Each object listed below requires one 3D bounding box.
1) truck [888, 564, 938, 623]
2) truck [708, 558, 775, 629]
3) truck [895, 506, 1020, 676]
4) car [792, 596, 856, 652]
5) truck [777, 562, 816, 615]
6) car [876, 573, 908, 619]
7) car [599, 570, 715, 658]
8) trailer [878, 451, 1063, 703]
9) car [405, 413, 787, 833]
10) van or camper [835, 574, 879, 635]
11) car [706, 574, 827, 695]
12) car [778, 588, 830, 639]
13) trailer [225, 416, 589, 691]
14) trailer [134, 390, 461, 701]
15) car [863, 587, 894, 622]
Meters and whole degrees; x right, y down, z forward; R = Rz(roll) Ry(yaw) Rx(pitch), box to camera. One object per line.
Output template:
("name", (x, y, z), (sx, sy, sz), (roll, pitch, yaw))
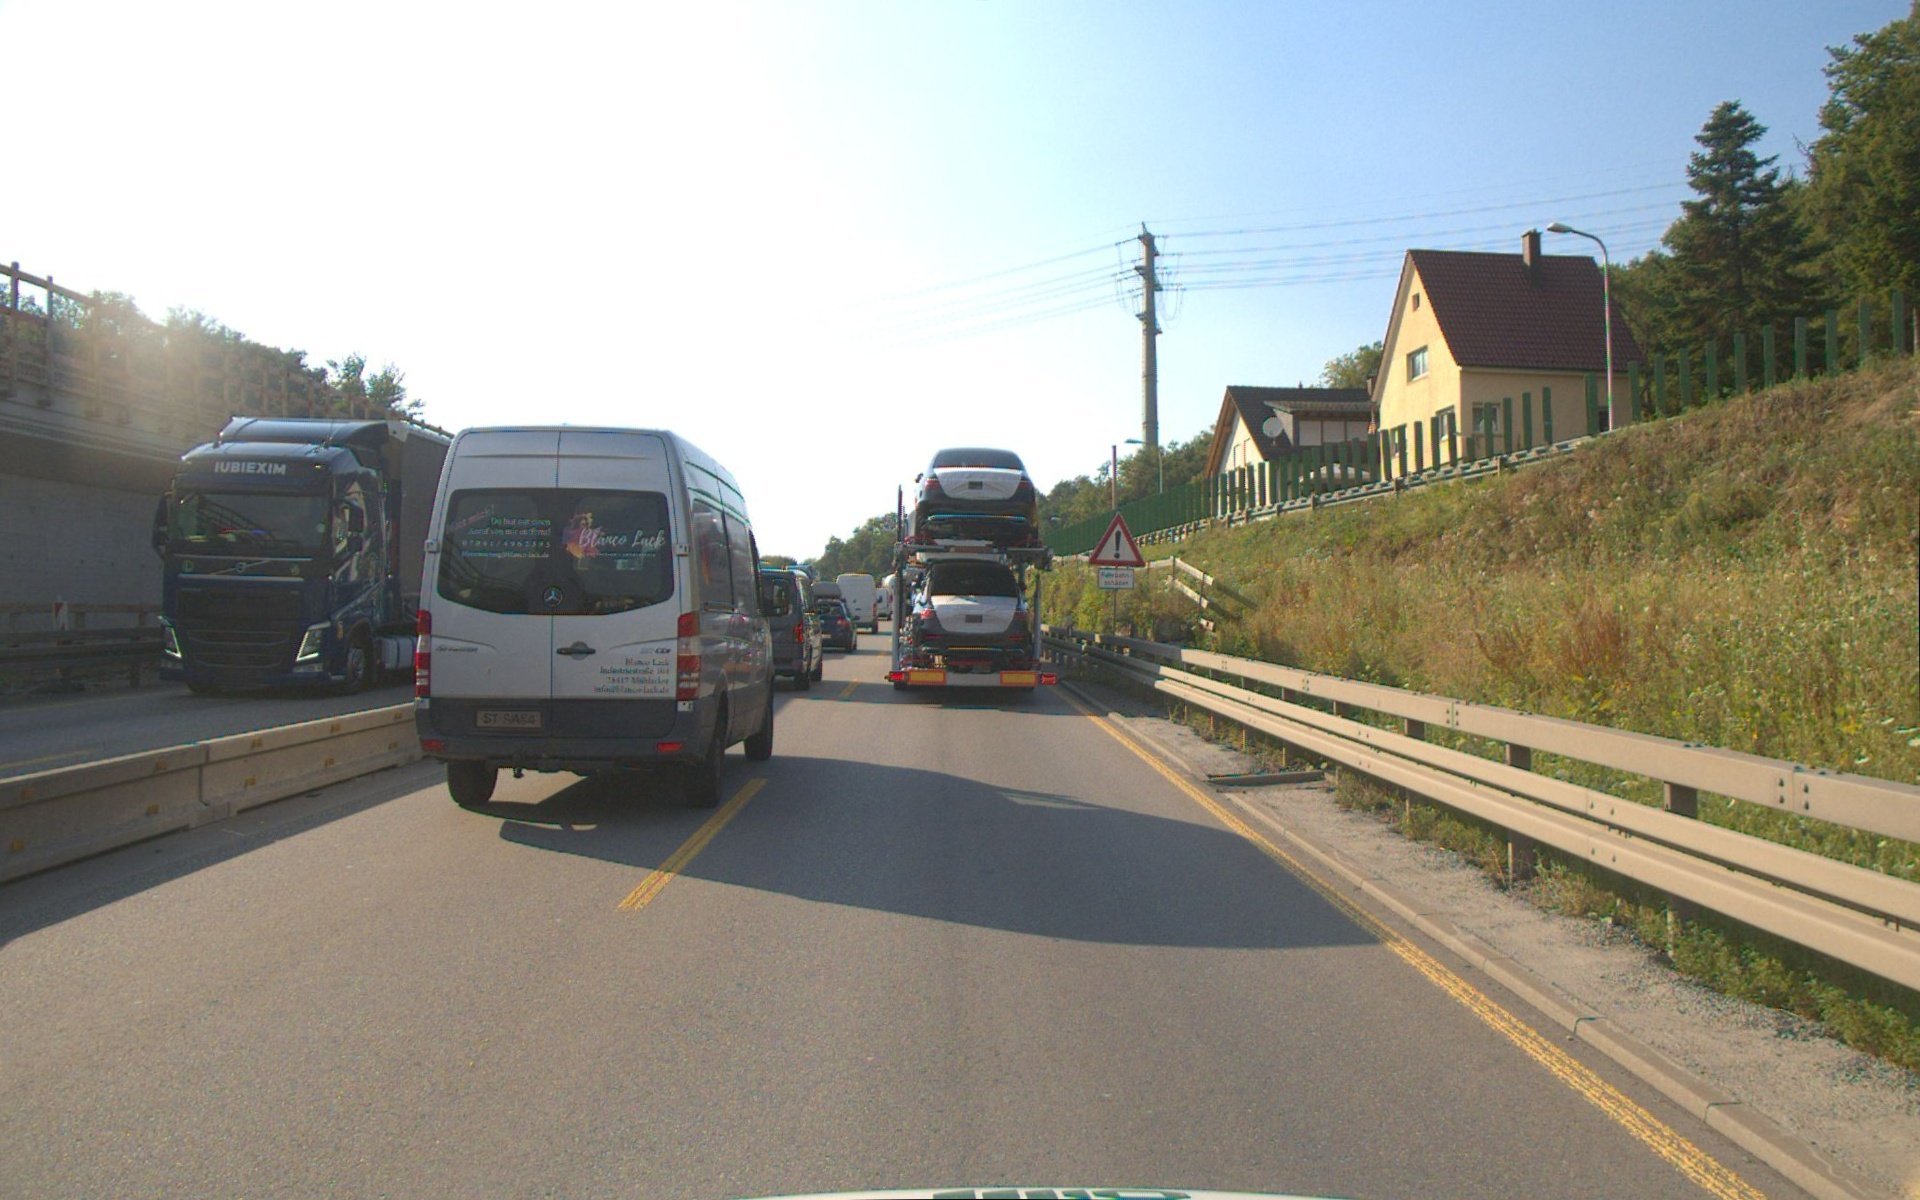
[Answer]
("truck", (-3.926, -0.527, 140.458), (3.982, 4.761, 10.590), (0, 0, -1))
("truck", (-11.559, -0.273, 88.243), (2.660, 3.484, 8.137), (-2, -1, -2))
("truck", (-0.104, -0.152, 39.071), (2.628, 3.597, 7.191), (1, -1, -1))
("car", (-3.979, 0.666, 48.698), (1.691, 1.549, 3.971), (1, 0, -2))
("truck", (-13.757, -0.945, 139.793), (2.572, 4.184, 9.622), (-2, 0, -3))
("car", (-7.866, -0.405, 190.251), (3.377, 5.123, 9.646), (1, 0, -4))
("car", (-6.182, 0.304, 34.198), (1.607, 1.674, 4.687), (1, -1, -2))
("trailer", (0.042, -0.238, 31.503), (2.628, 3.597, 15.284), (1, -1, -1))
("car", (-2.634, 0.137, 13.419), (1.953, 2.694, 5.529), (0, 0, -1))
("van or camper", (-4.679, 0.234, 75.630), (1.929, 2.637, 5.038), (1, -1, -3))
("car", (-3.299, 0.596, 28.840), (1.772, 1.937, 3.997), (1, -1, -3))
("car", (-7.995, 0.695, 85.262), (2.422, 2.578, 3.998), (0, -1, -2))
("trailer", (-10.138, -0.767, 32.625), (2.708, 4.213, 14.021), (1, 0, -1))
("trailer", (-9.979, -0.761, 25.666), (2.708, 4.214, 5.975), (1, 0, -1))
("car", (-5.146, 0.303, 105.127), (1.848, 2.137, 3.764), (1, 0, -2))
